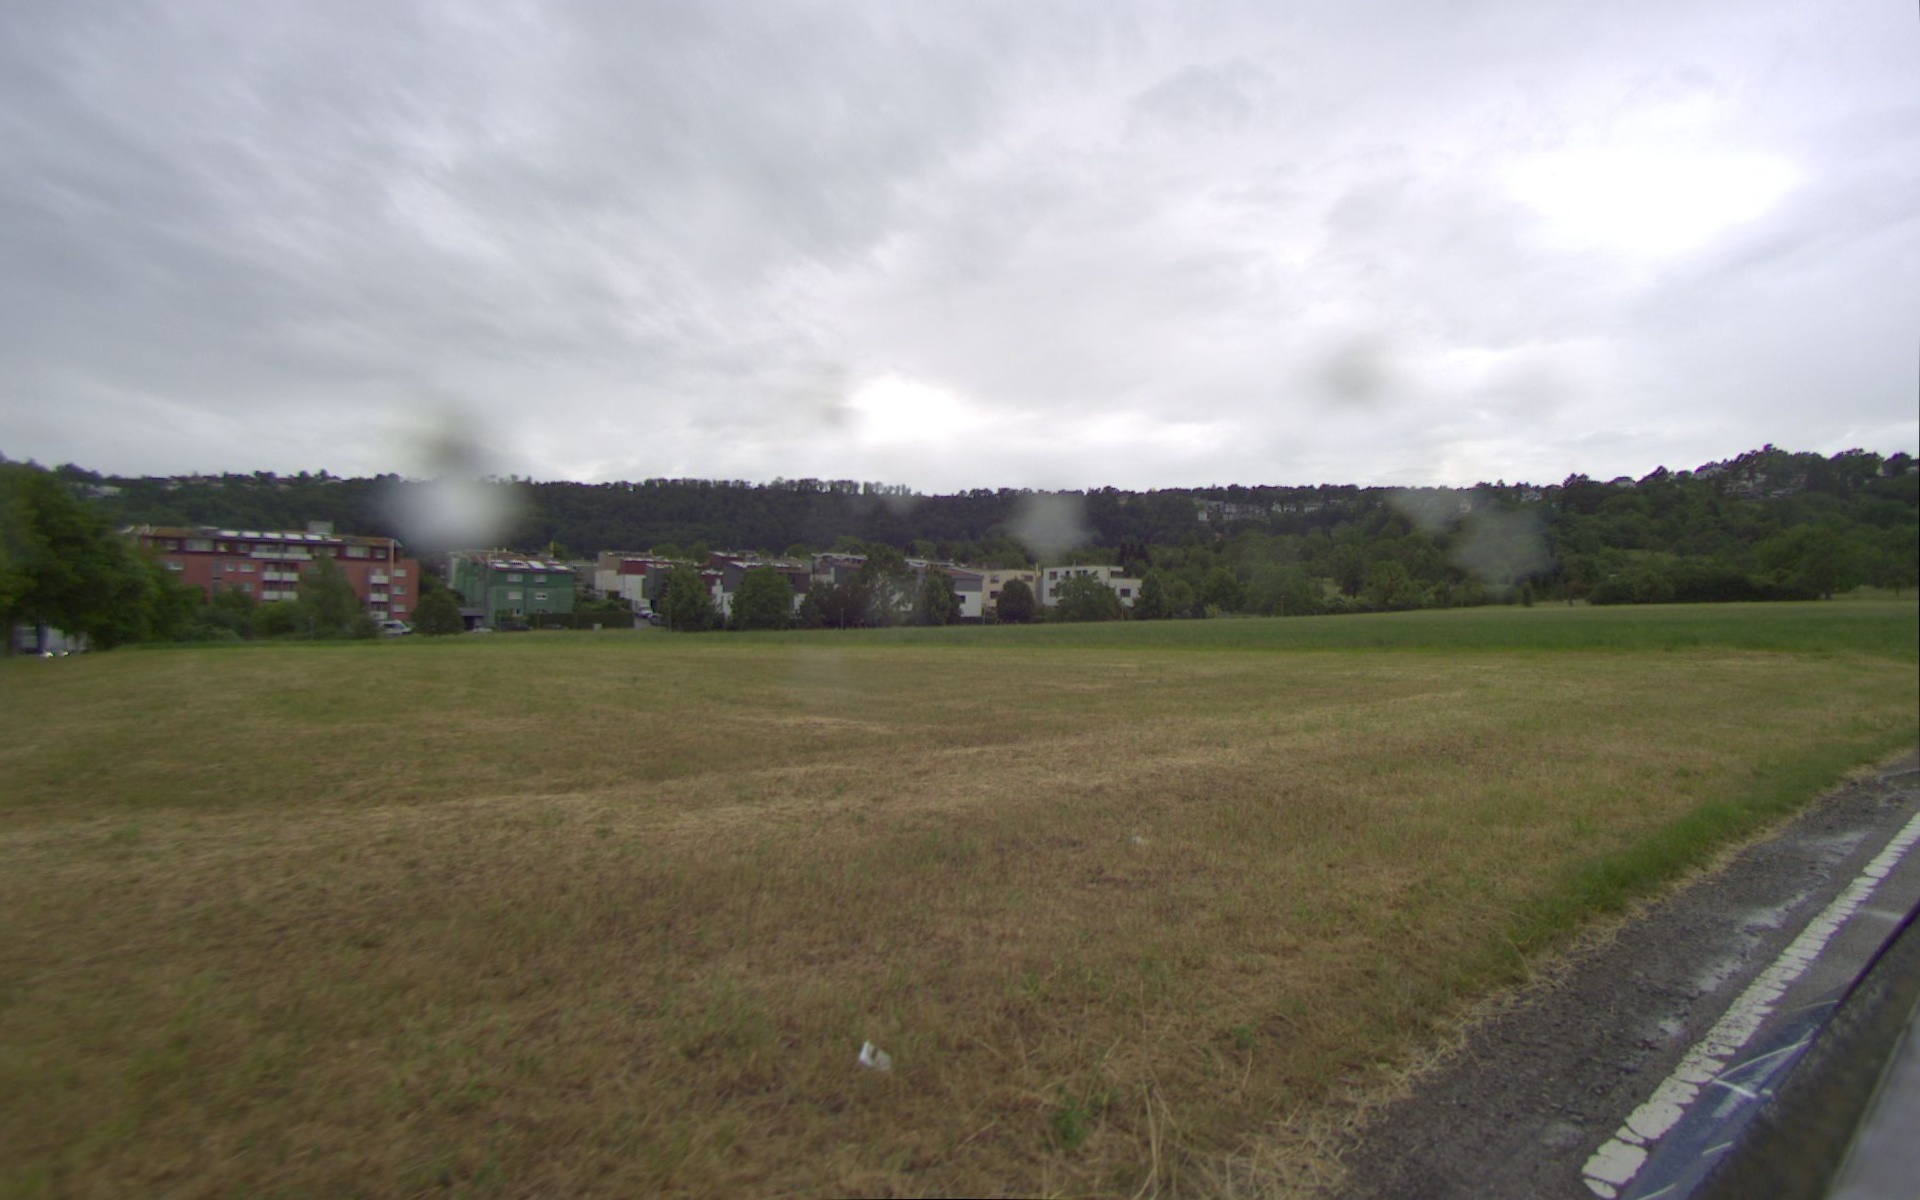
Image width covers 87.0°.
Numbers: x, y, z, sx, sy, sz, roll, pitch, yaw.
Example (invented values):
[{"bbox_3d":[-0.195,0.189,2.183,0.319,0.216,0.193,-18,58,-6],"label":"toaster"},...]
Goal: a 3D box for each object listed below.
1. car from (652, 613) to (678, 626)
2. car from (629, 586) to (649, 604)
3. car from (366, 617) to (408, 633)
[{"bbox_3d":[-49.805,3.288,170.884,3.924,2.039,2.000,0,1,-36],"label":"car"},{"bbox_3d":[-58.150,-0.950,183.290,2.099,3.265,5.091,-1,1,-33],"label":"car"},{"bbox_3d":[-82.149,3.535,145.192,5.177,2.039,2.002,-2,1,-32],"label":"car"}]
